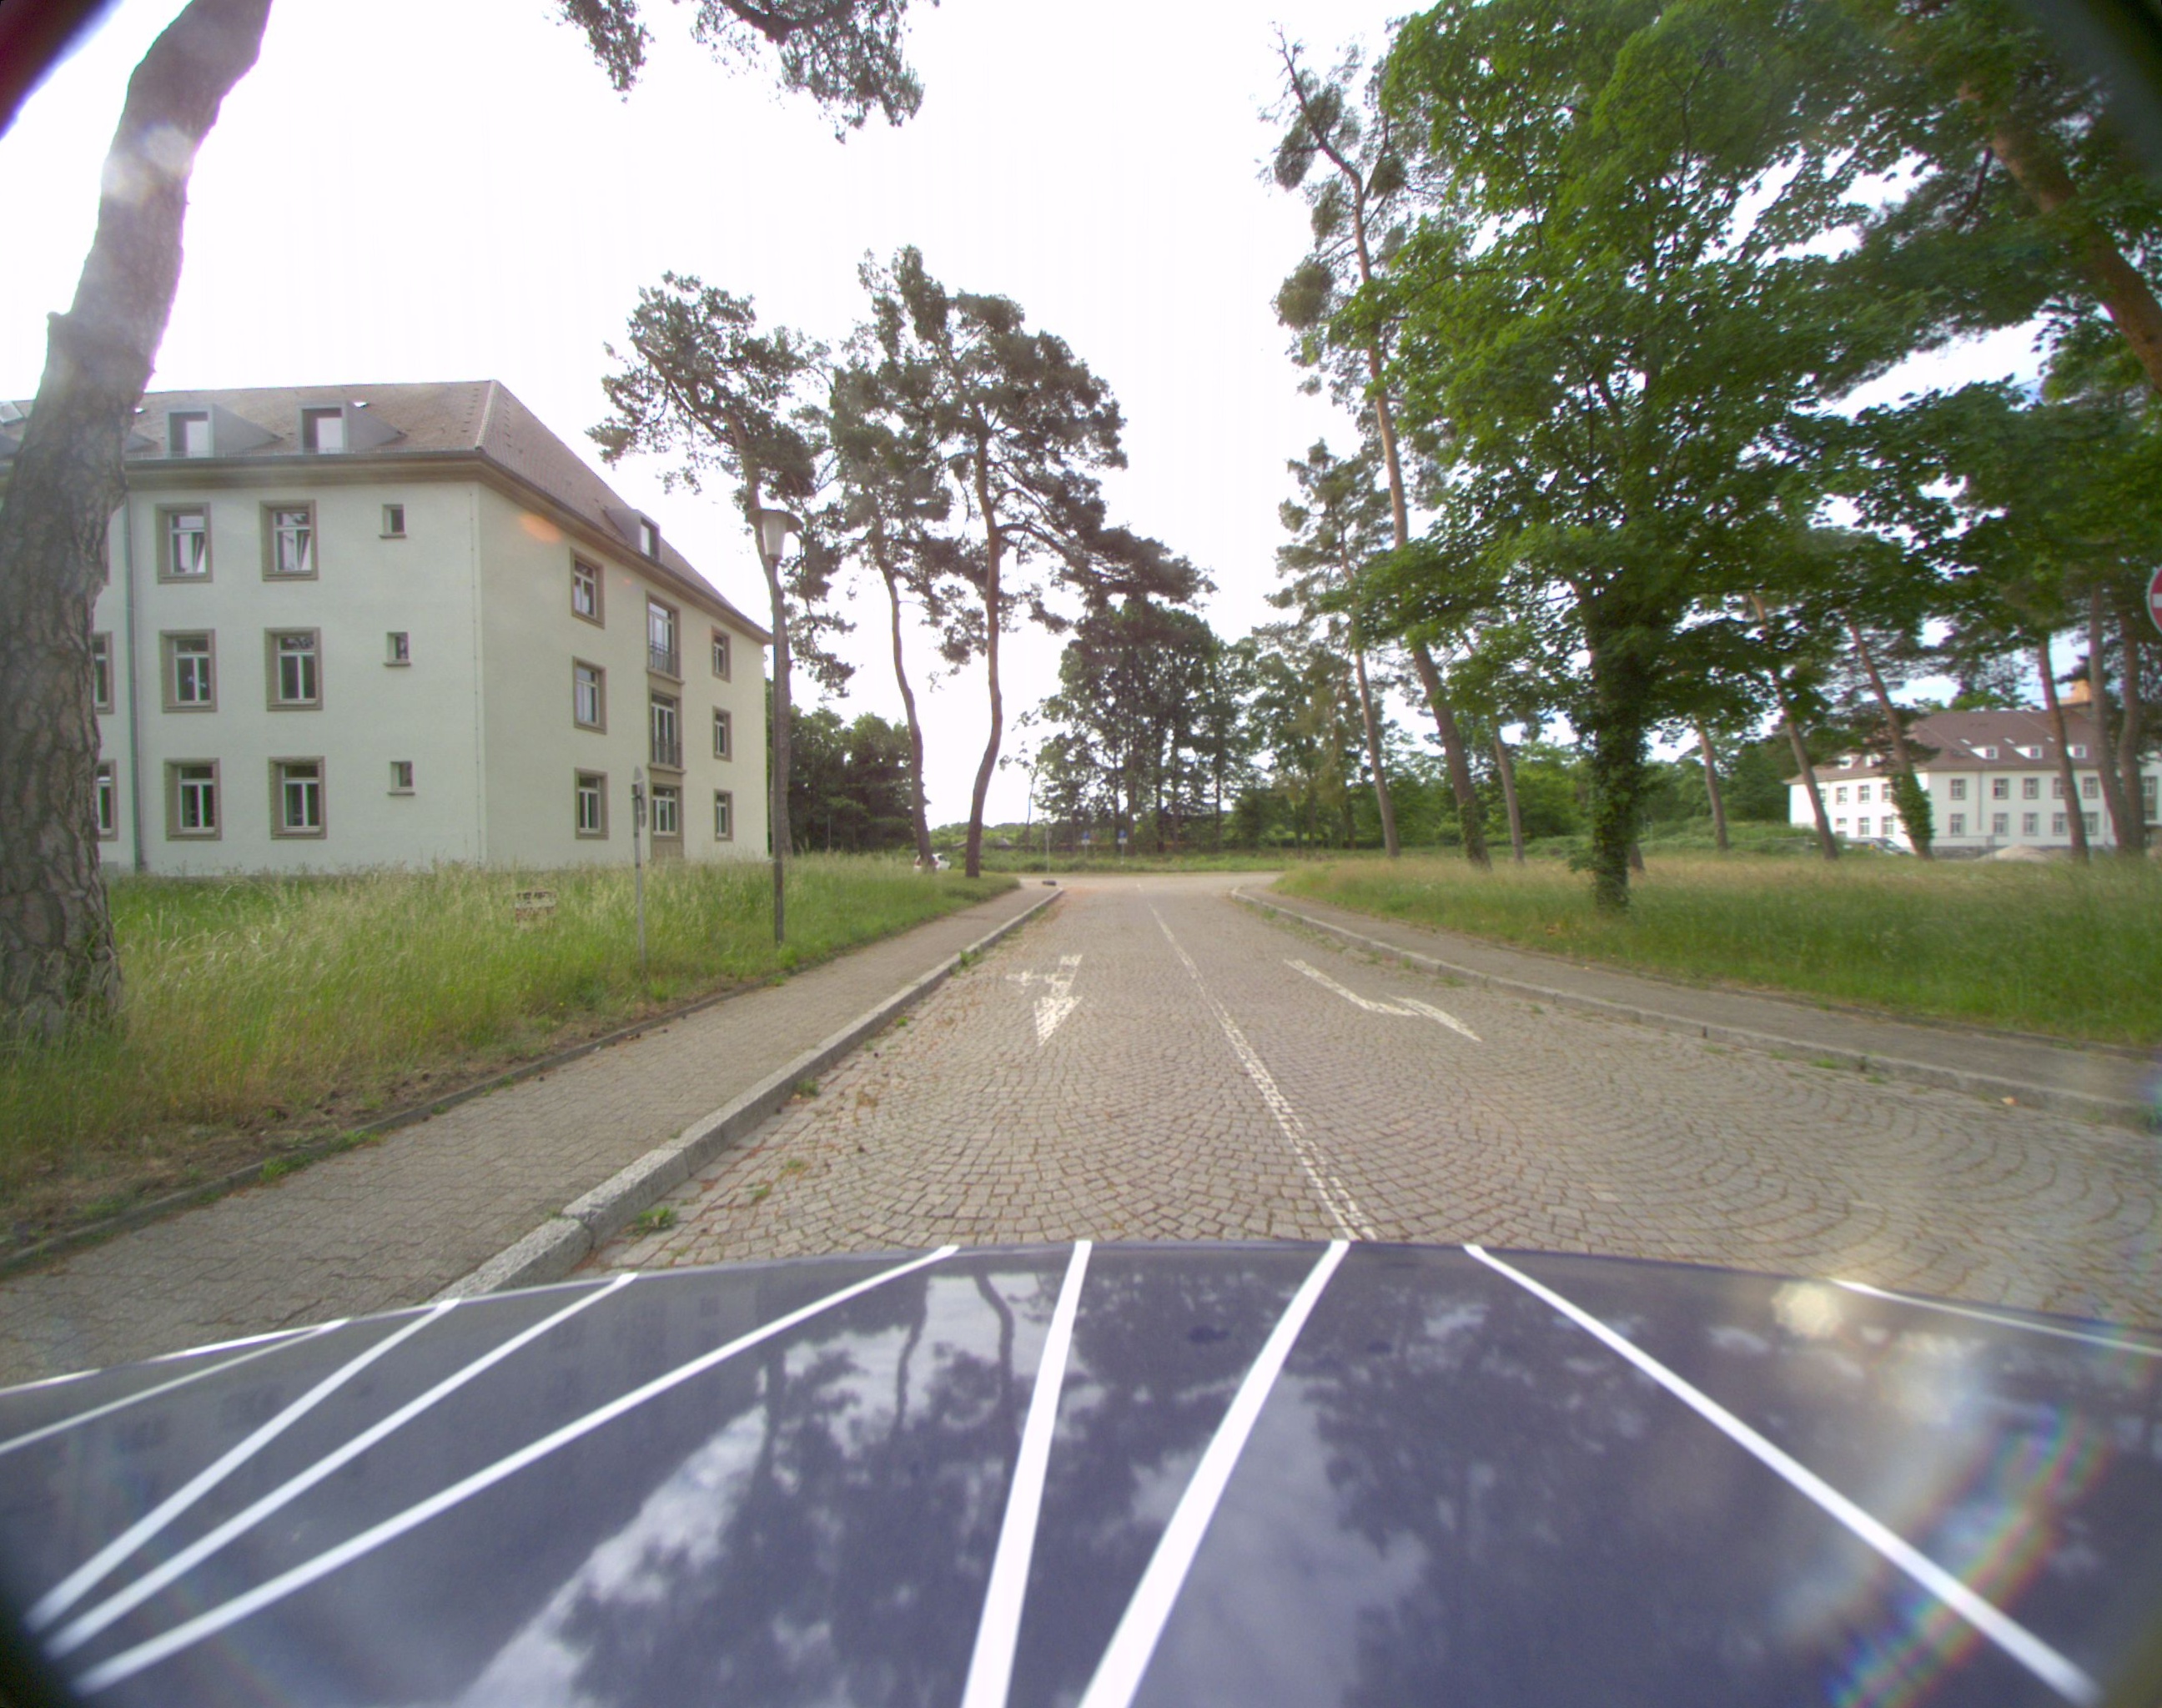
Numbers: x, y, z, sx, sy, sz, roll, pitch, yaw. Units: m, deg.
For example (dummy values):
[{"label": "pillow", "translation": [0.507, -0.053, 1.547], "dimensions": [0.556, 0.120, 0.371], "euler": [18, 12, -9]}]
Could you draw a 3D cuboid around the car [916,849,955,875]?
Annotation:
[{"label": "car", "translation": [-9.239, 0.461, 48.367], "dimensions": [1.640, 1.426, 3.277], "euler": [-1, 3, 3]}]
